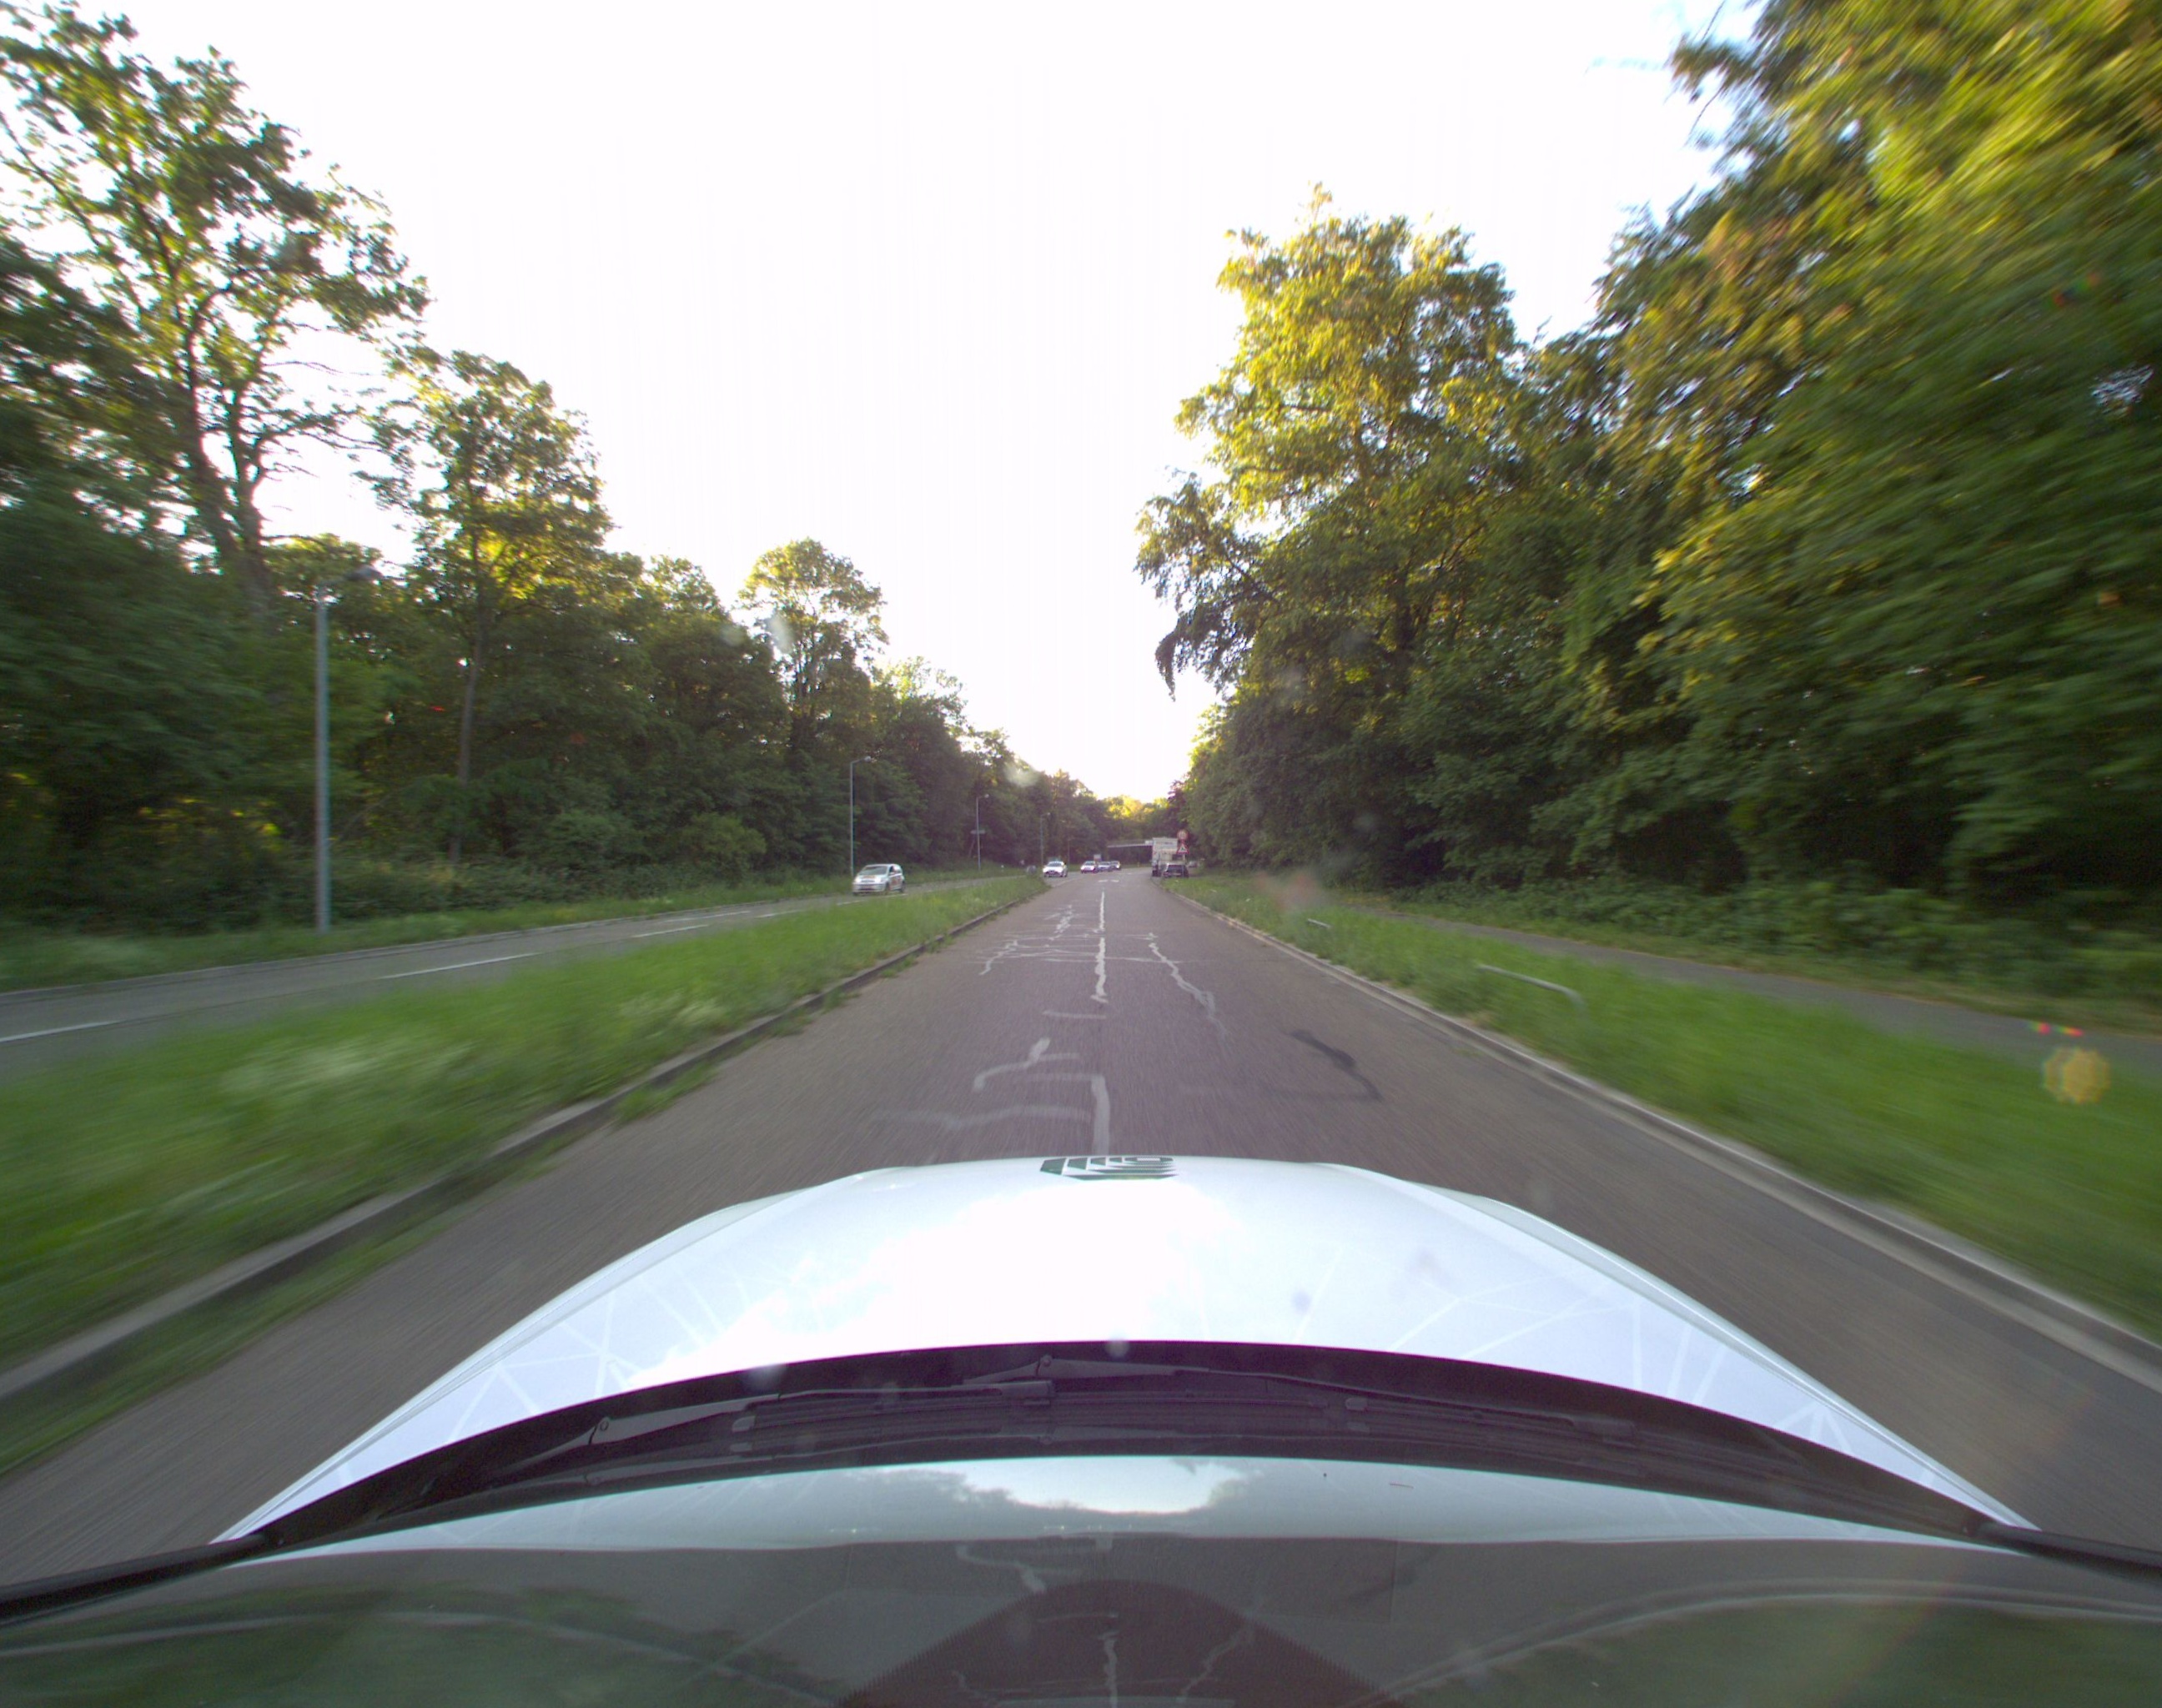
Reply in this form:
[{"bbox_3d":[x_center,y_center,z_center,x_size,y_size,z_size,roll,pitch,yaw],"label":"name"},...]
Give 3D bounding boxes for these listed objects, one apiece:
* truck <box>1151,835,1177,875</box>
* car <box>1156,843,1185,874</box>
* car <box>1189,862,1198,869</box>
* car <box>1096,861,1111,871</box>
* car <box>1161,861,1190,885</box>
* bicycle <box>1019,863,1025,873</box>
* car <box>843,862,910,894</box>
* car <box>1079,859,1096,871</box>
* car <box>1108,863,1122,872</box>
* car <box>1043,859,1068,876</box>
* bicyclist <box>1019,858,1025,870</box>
[{"bbox_3d":[8.876,0.119,86.877,2.644,4.027,9.738,0,0,6],"label":"truck"},{"bbox_3d":[8.647,0.476,78.865,2.399,2.858,5.935,0,-1,2],"label":"car"},{"bbox_3d":[25.030,2.627,181.315,1.881,1.447,4.119,-1,-1,8],"label":"car"},{"bbox_3d":[3.212,1.722,115.118,1.711,1.397,4.382,-1,0,6],"label":"car"},{"bbox_3d":[6.007,1.189,52.115,1.656,1.405,3.947,2,-1,4],"label":"car"},{"bbox_3d":[-7.618,1.751,105.005,0.629,1.217,2.257,-1,0,-6],"label":"bicycle"},{"bbox_3d":[-9.864,1.181,39.525,1.984,1.458,3.815,-2,-2,5],"label":"car"},{"bbox_3d":[0.866,1.356,102.237,1.707,1.446,4.180,-1,0,6],"label":"car"},{"bbox_3d":[5.635,2.182,132.616,1.881,1.440,4.779,0,0,7],"label":"car"},{"bbox_3d":[-2.344,1.261,76.046,1.827,1.507,3.943,-2,-2,5],"label":"car"},{"bbox_3d":[-7.631,1.301,105.026,0.619,1.511,0.845,-2,0,-6],"label":"bicyclist"}]
